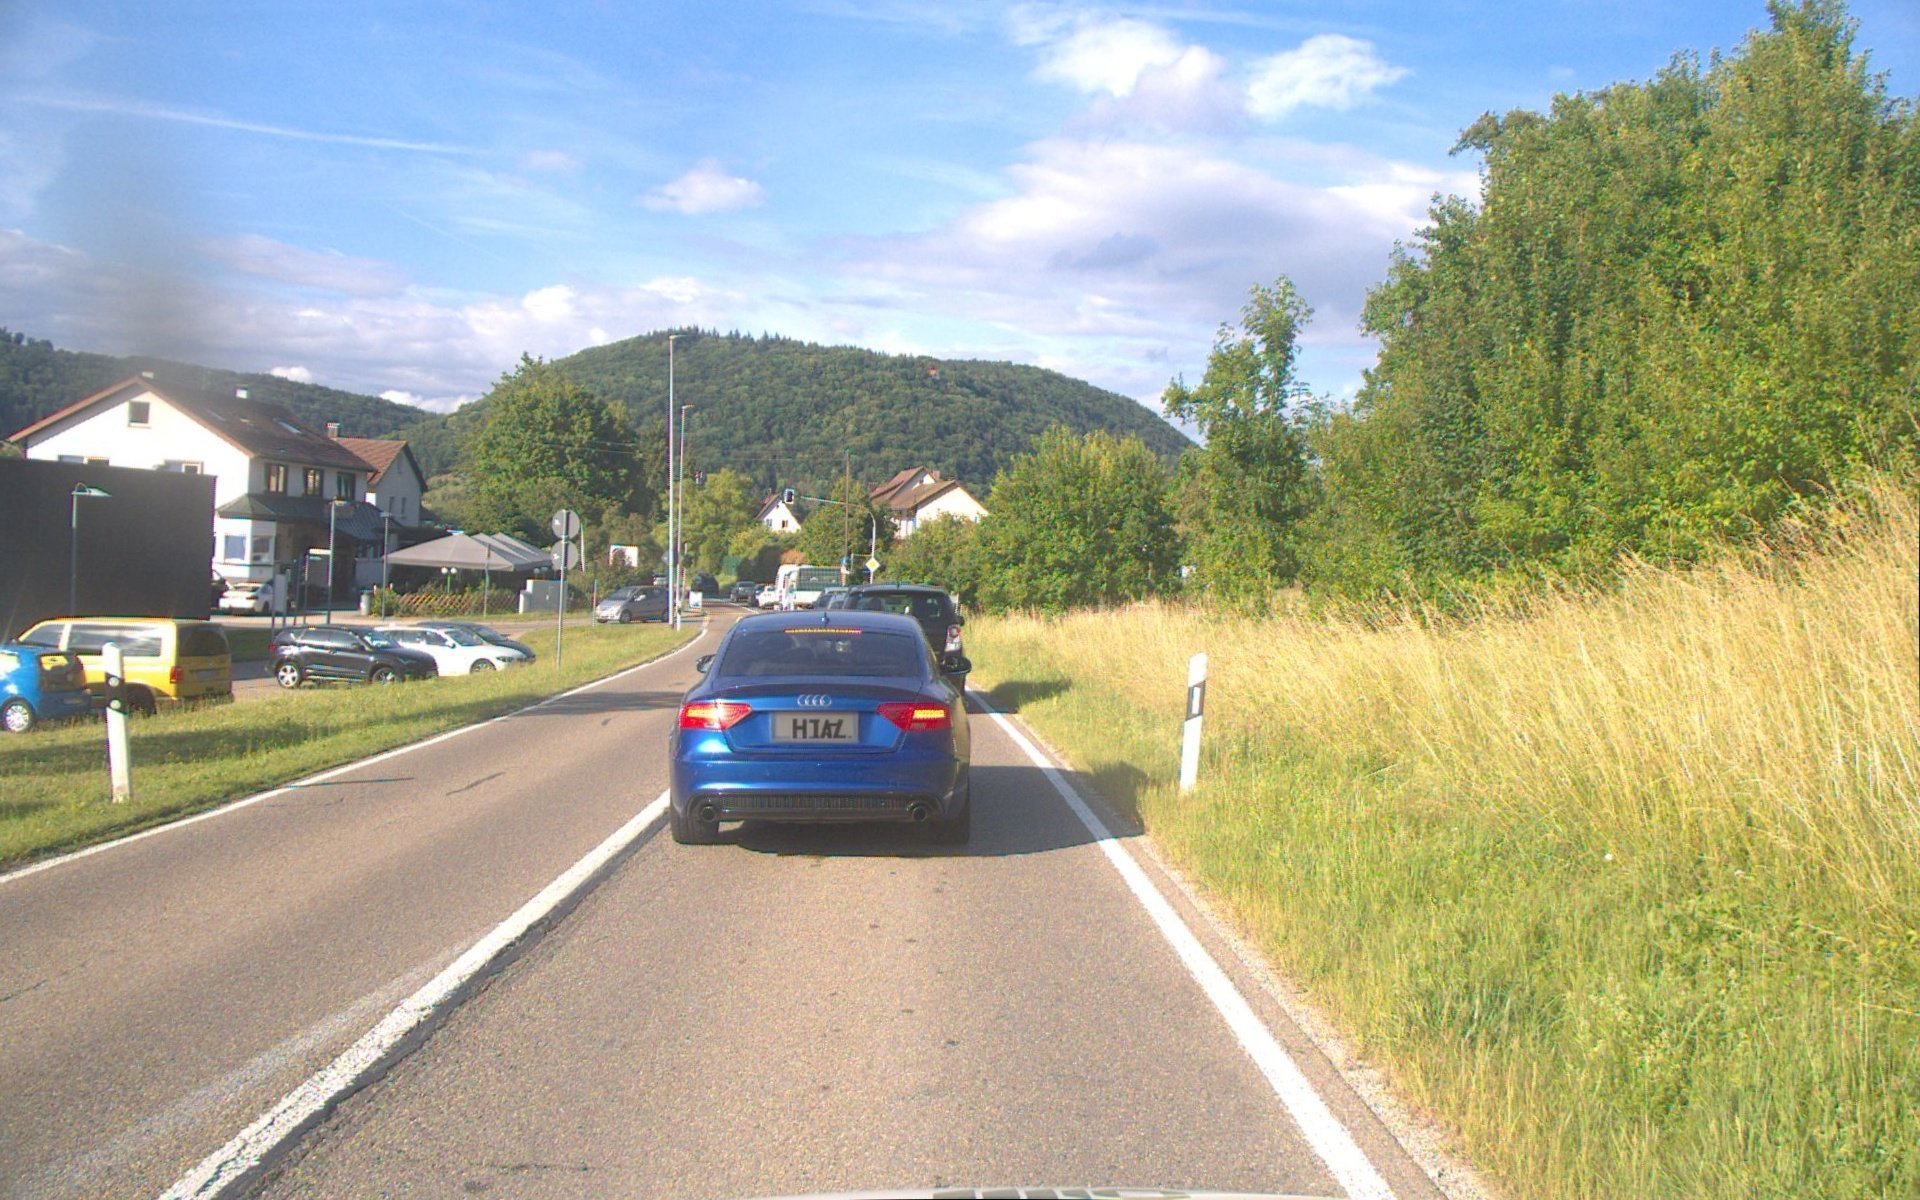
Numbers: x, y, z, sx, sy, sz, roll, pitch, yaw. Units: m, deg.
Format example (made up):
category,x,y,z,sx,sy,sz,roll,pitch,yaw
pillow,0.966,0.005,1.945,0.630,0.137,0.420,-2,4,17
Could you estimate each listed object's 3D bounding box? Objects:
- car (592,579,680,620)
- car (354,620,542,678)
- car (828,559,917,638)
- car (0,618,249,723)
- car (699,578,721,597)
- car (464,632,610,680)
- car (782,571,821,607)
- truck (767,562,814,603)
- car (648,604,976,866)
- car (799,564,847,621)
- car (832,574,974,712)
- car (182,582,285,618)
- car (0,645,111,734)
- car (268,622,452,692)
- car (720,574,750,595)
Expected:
category,x,y,z,sx,sy,sz,roll,pitch,yaw
car,-14.143,-0.009,72.287,1.710,1.691,3.449,0,-1,42
car,-14.492,1.364,46.959,4.711,1.520,1.882,1,-1,8
car,-1.907,-0.016,37.392,1.768,1.668,4.463,1,0,0
car,-16.601,1.333,32.432,4.512,1.900,2.002,1,-1,12
car,-21.704,-1.104,143.555,1.598,1.604,3.667,1,0,-13
car,-12.797,1.679,50.165,3.903,1.333,1.761,1,-1,4
car,-7.684,-0.522,80.066,1.713,1.668,3.993,1,0,-8
truck,-8.792,-0.849,85.416,1.668,1.988,5.903,1,0,-13
car,-0.779,0.741,10.925,1.758,1.412,4.000,0,0,1
car,-5.629,-0.298,67.509,1.713,2.234,3.993,1,0,-8
car,-0.683,0.541,22.329,1.710,1.668,4.000,1,0,1
car,-31.165,0.002,71.054,1.728,1.467,4.000,1,-1,20
car,-17.487,1.579,29.910,3.419,1.498,1.634,1,-1,6
car,-15.342,1.435,42.398,3.939,1.666,2.001,1,-1,8
car,-16.618,-1.123,121.969,1.670,1.516,3.511,1,0,-16
